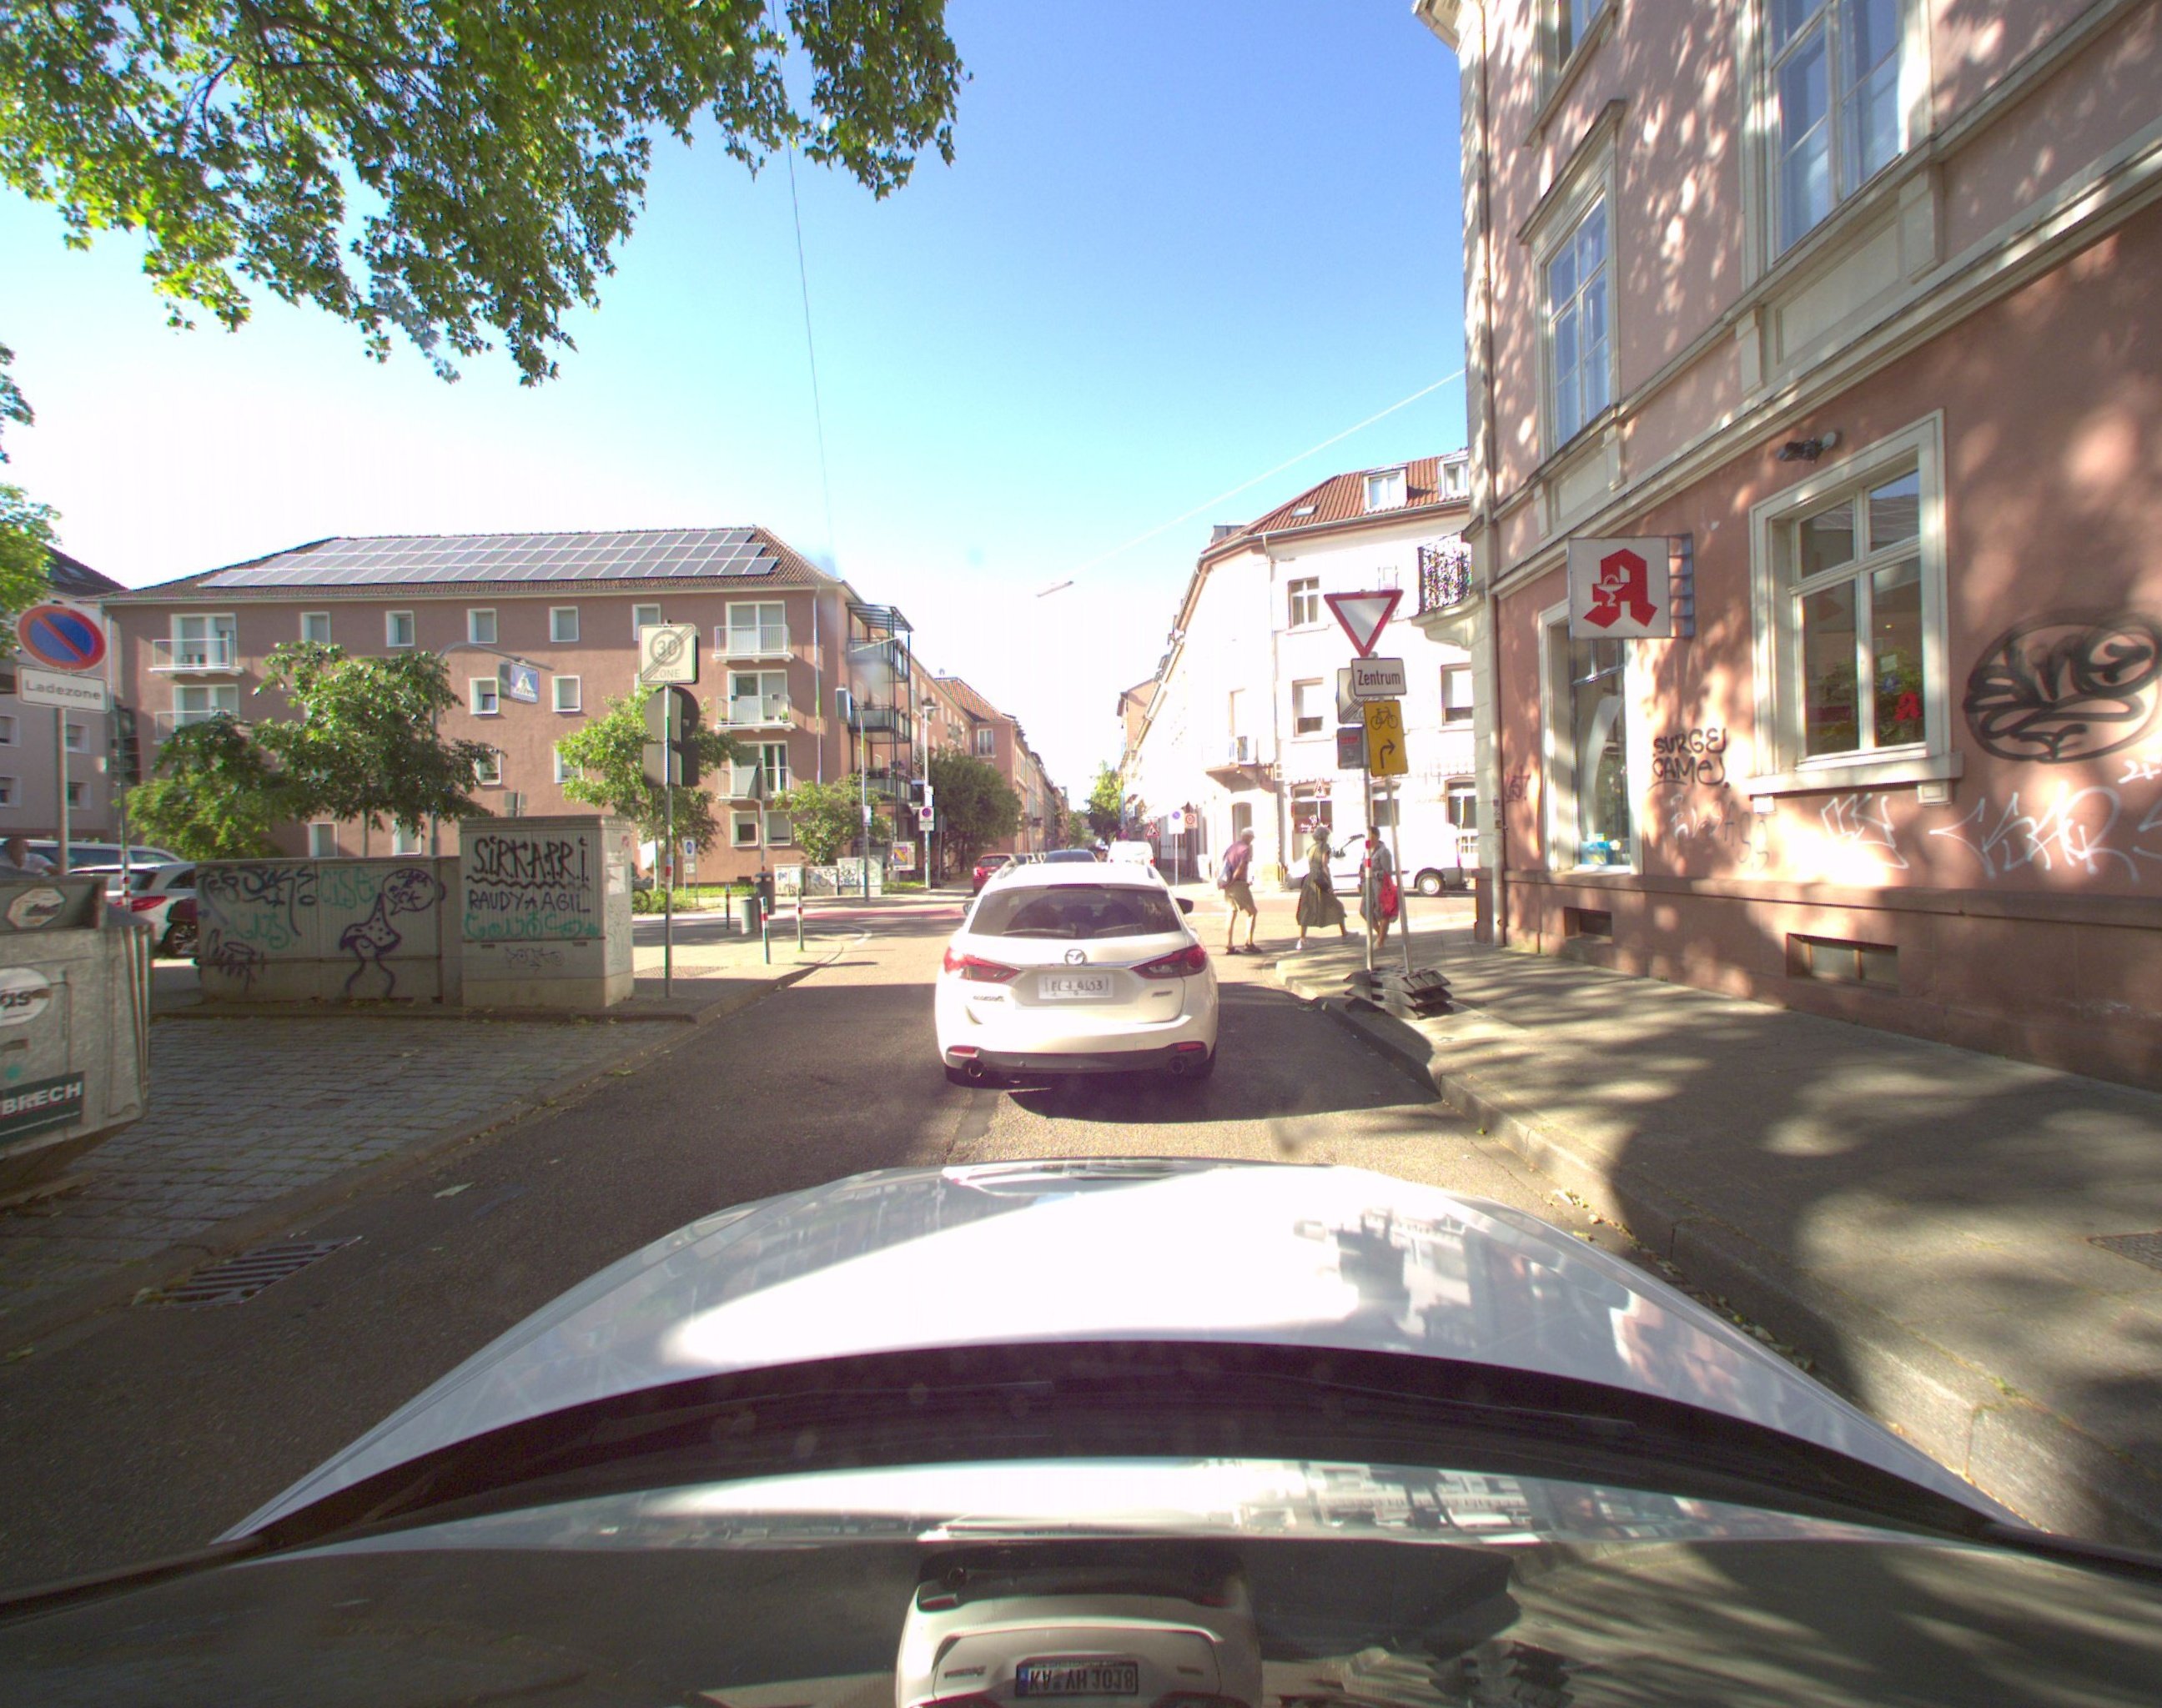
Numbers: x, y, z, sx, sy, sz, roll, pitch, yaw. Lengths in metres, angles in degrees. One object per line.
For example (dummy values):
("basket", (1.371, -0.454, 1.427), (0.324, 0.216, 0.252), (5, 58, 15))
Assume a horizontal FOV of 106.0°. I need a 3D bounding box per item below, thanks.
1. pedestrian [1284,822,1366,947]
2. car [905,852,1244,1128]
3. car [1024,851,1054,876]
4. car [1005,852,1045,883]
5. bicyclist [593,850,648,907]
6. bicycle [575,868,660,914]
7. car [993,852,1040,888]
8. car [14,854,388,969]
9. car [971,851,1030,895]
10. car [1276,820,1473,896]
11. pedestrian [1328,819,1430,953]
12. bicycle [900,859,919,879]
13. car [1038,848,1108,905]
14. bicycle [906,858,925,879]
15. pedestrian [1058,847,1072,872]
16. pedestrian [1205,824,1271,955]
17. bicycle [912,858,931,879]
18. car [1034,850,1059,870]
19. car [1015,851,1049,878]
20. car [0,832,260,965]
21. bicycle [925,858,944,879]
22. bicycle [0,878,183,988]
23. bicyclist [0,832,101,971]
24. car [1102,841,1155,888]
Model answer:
("pedestrian", (3.465, 0.439, 11.625), (0.833, 1.667, 0.626), (-6, -3, 1))
("car", (0.025, 0.743, 6.454), (1.824, 1.457, 3.964), (-2, 0, 2))
("car", (-2.707, 0.606, 53.424), (1.647, 1.500, 3.764), (-1, 0, 2))
("car", (-2.847, 0.661, 42.300), (1.647, 1.500, 3.764), (-1, 0, 2))
("bicyclist", (-12.625, 0.657, 22.366), (1.038, 1.519, 0.739), (-2, 0, 1))
("bicycle", (-12.723, 1.006, 22.389), (1.940, 1.198, 0.630), (-2, 0, 1))
("car", (-2.904, 0.680, 37.176), (1.647, 1.500, 4.081), (-1, 0, 2))
("car", (-14.773, 0.847, 14.133), (1.747, 1.612, 4.303), (-2, 0, 0))
("car", (-3.006, 0.663, 31.065), (1.678, 1.500, 3.808), (-3, 0, 2))
("car", (8.248, 0.141, 23.001), (4.964, 1.946, 2.062), (-1, 0, 23))
("pedestrian", (3.814, 0.397, 10.490), (0.841, 1.573, 0.846), (-7, -1, 1))
("bicycle", (-8.887, 0.794, 42.159), (1.201, 1.035, 0.293), (-1, 0, 40))
("car", (-0.135, 0.566, 22.936), (1.754, 1.410, 4.329), (-1, 0, 2))
("bicycle", (-8.634, 0.772, 42.422), (1.201, 1.072, 0.268), (-1, 0, 40))
("pedestrian", (-1.048, 0.347, 52.643), (0.733, 1.614, 0.813), (-2, 0, -11))
("pedestrian", (2.205, 0.481, 11.525), (0.747, 1.764, 0.831), (-1, 0, 1))
("bicycle", (-8.360, 0.778, 42.673), (1.201, 1.071, 0.255), (-1, 0, 40))
("car", (-2.638, 0.464, 63.738), (1.647, 1.500, 3.764), (-1, 0, 2))
("car", (-2.919, 0.590, 49.100), (1.647, 1.500, 3.764), (-1, 0, 2))
("car", (-17.368, 0.733, 13.877), (1.947, 2.006, 4.742), (-2, -1, -1))
("bicycle", (-7.762, 0.756, 42.996), (1.204, 1.071, 0.255), (-1, 0, 40))
("bicycle", (-12.083, 0.894, 9.776), (0.802, 1.153, 1.714), (0, 0, -7))
("bicyclist", (-12.332, 0.545, 9.659), (0.703, 1.584, 0.533), (-1, 0, -7))
("car", (1.949, 0.396, 34.765), (1.889, 1.859, 5.012), (1, 0, -1))
